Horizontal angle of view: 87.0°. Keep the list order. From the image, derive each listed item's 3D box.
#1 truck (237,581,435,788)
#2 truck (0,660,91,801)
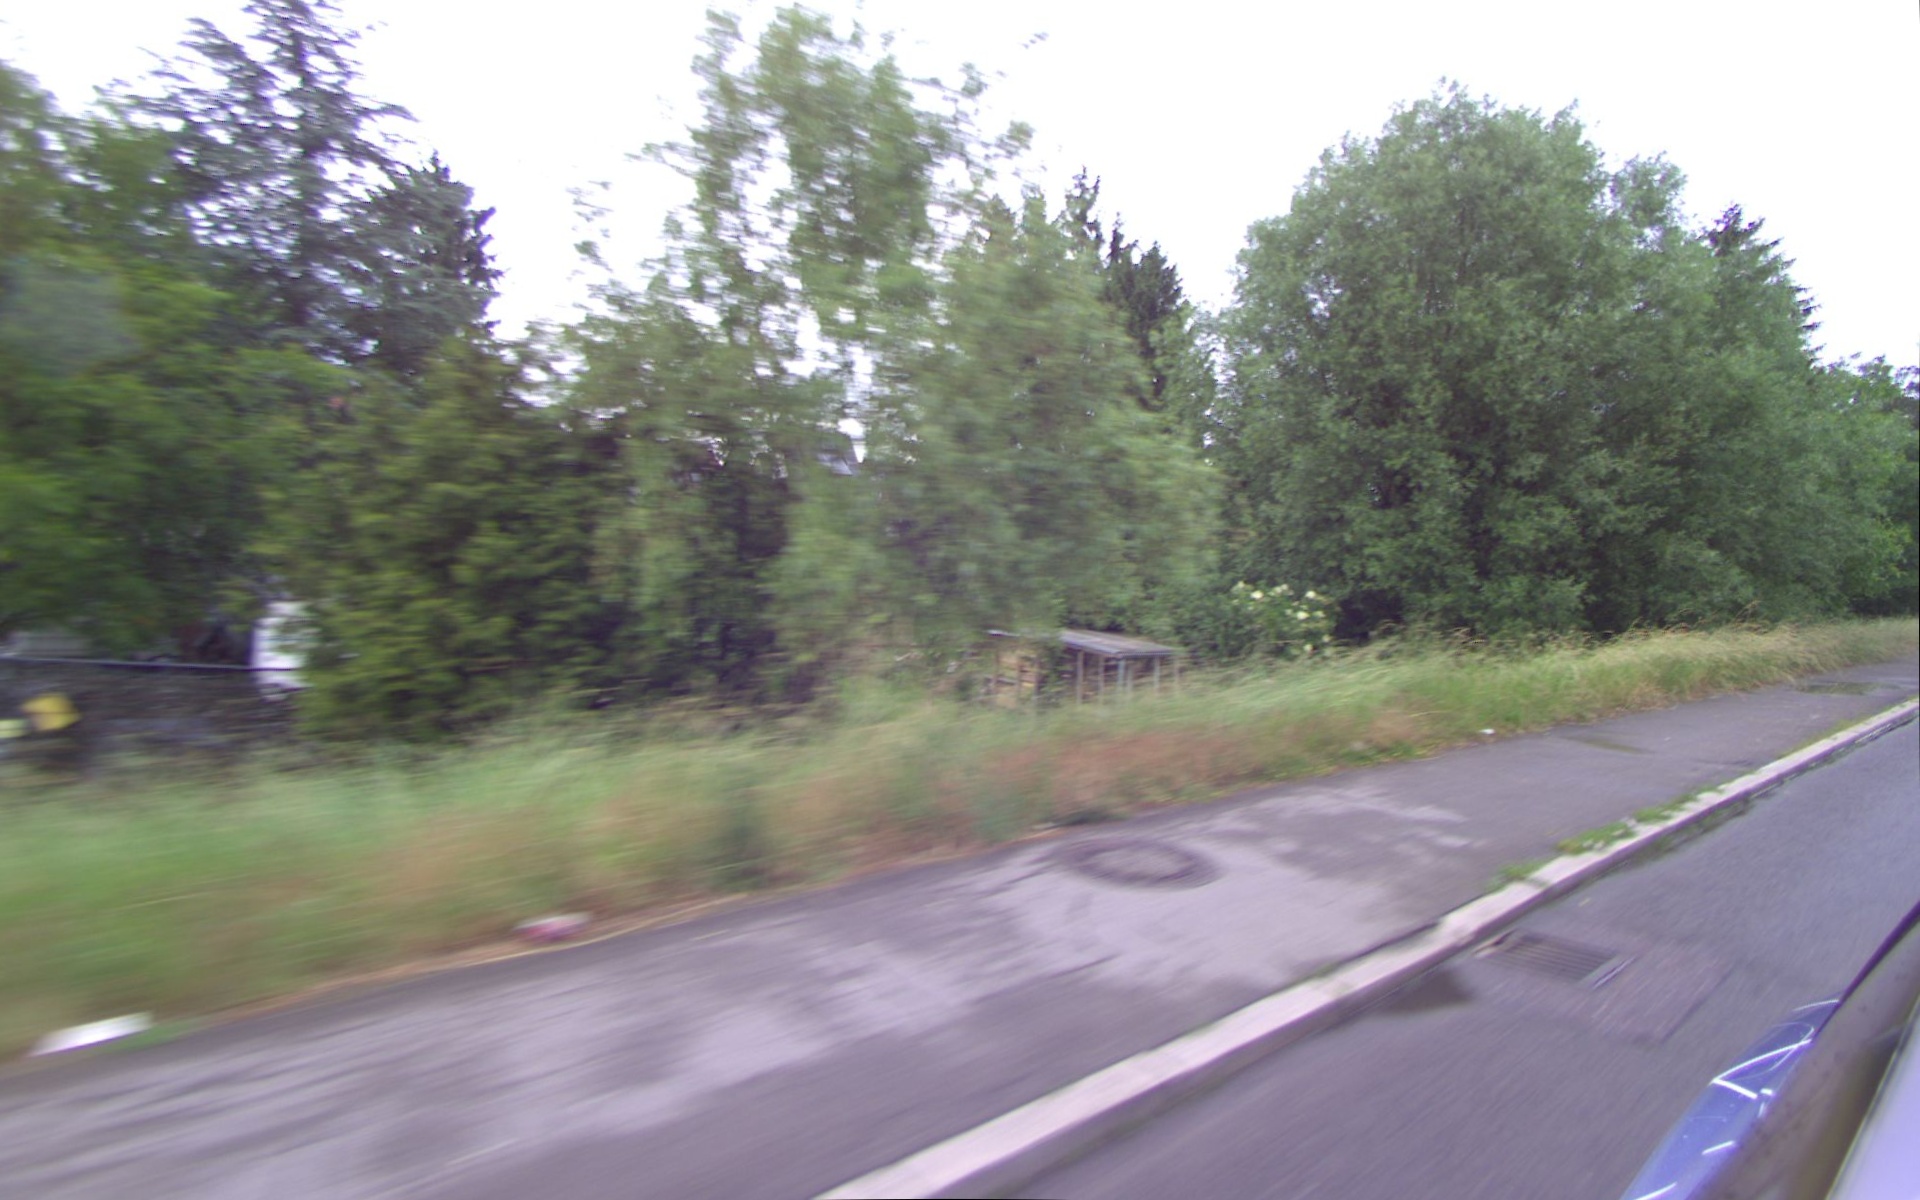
[{"bbox_3d":[-9.273,0.922,15.244,2.026,2.388,7.074,0,1,-31],"label":"truck"},{"bbox_3d":[-11.806,1.518,12.051,1.723,1.415,2.364,0,1,-28],"label":"truck"}]
